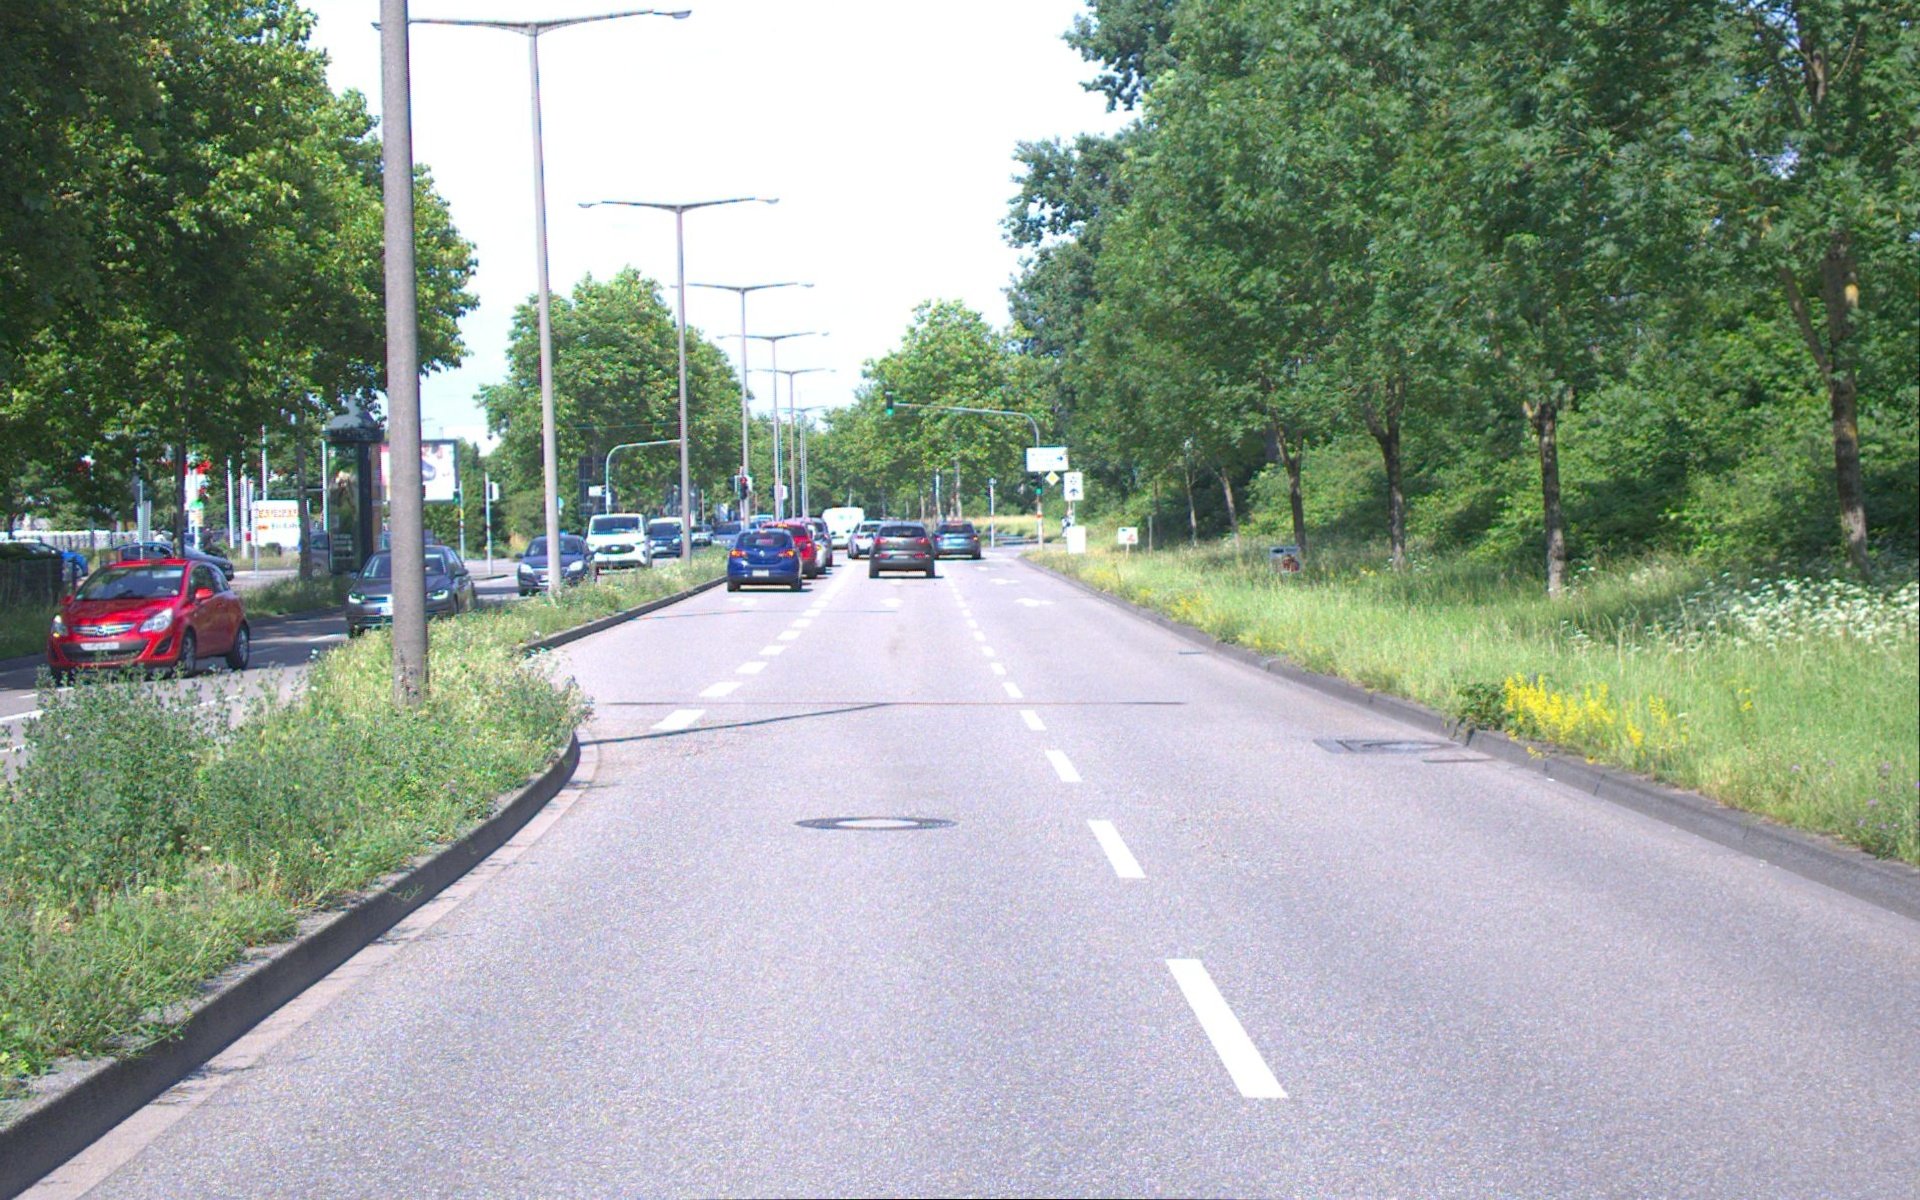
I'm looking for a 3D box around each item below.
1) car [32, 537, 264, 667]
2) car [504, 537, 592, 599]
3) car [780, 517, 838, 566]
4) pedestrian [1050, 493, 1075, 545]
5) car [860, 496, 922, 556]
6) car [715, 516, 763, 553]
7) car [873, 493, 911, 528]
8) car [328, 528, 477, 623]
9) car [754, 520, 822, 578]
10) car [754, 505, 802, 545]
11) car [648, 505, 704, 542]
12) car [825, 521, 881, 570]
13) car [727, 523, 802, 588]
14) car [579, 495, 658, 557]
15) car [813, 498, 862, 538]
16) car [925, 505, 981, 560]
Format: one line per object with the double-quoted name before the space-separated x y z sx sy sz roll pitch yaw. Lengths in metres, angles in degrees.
"car" -10.067 -0.016 42.895 1.763 1.457 4.000 -2 1 2
"car" -10.238 -0.818 85.654 1.768 1.464 4.284 -2 1 -2
"car" -5.097 -1.999 116.453 1.881 1.612 4.213 0 1 -1
"pedestrian" 3.878 -3.075 130.085 0.837 1.926 0.772 -1 3 -4
"car" -1.952 -2.130 97.989 1.736 1.530 4.001 0 4 -1
"car" -10.960 -3.248 170.804 1.993 1.769 4.000 -1 1 2
"car" -4.042 -5.323 204.334 1.993 2.007 4.001 -1 1 -4
"car" -9.247 -0.439 57.315 1.839 1.473 4.166 -1 1 -1
"car" -4.813 -1.454 96.394 1.782 1.587 4.594 0 1 -1
"car" -8.659 -3.566 163.593 1.993 1.853 4.000 -1 1 1
"car" -12.017 -3.245 145.696 1.993 1.525 4.683 -2 1 -1
"car" -4.016 -2.059 129.231 1.993 1.738 4.266 -1 1 -1
"car" -4.631 -1.073 81.751 1.626 1.478 4.049 1 1 -1
"car" -10.949 -2.395 110.511 2.116 1.877 5.420 -2 1 -2
"car" -5.387 -3.607 151.553 1.993 1.702 4.264 -1 1 0
"car" -0.281 -2.532 128.016 2.018 1.831 4.001 0 4 -1
